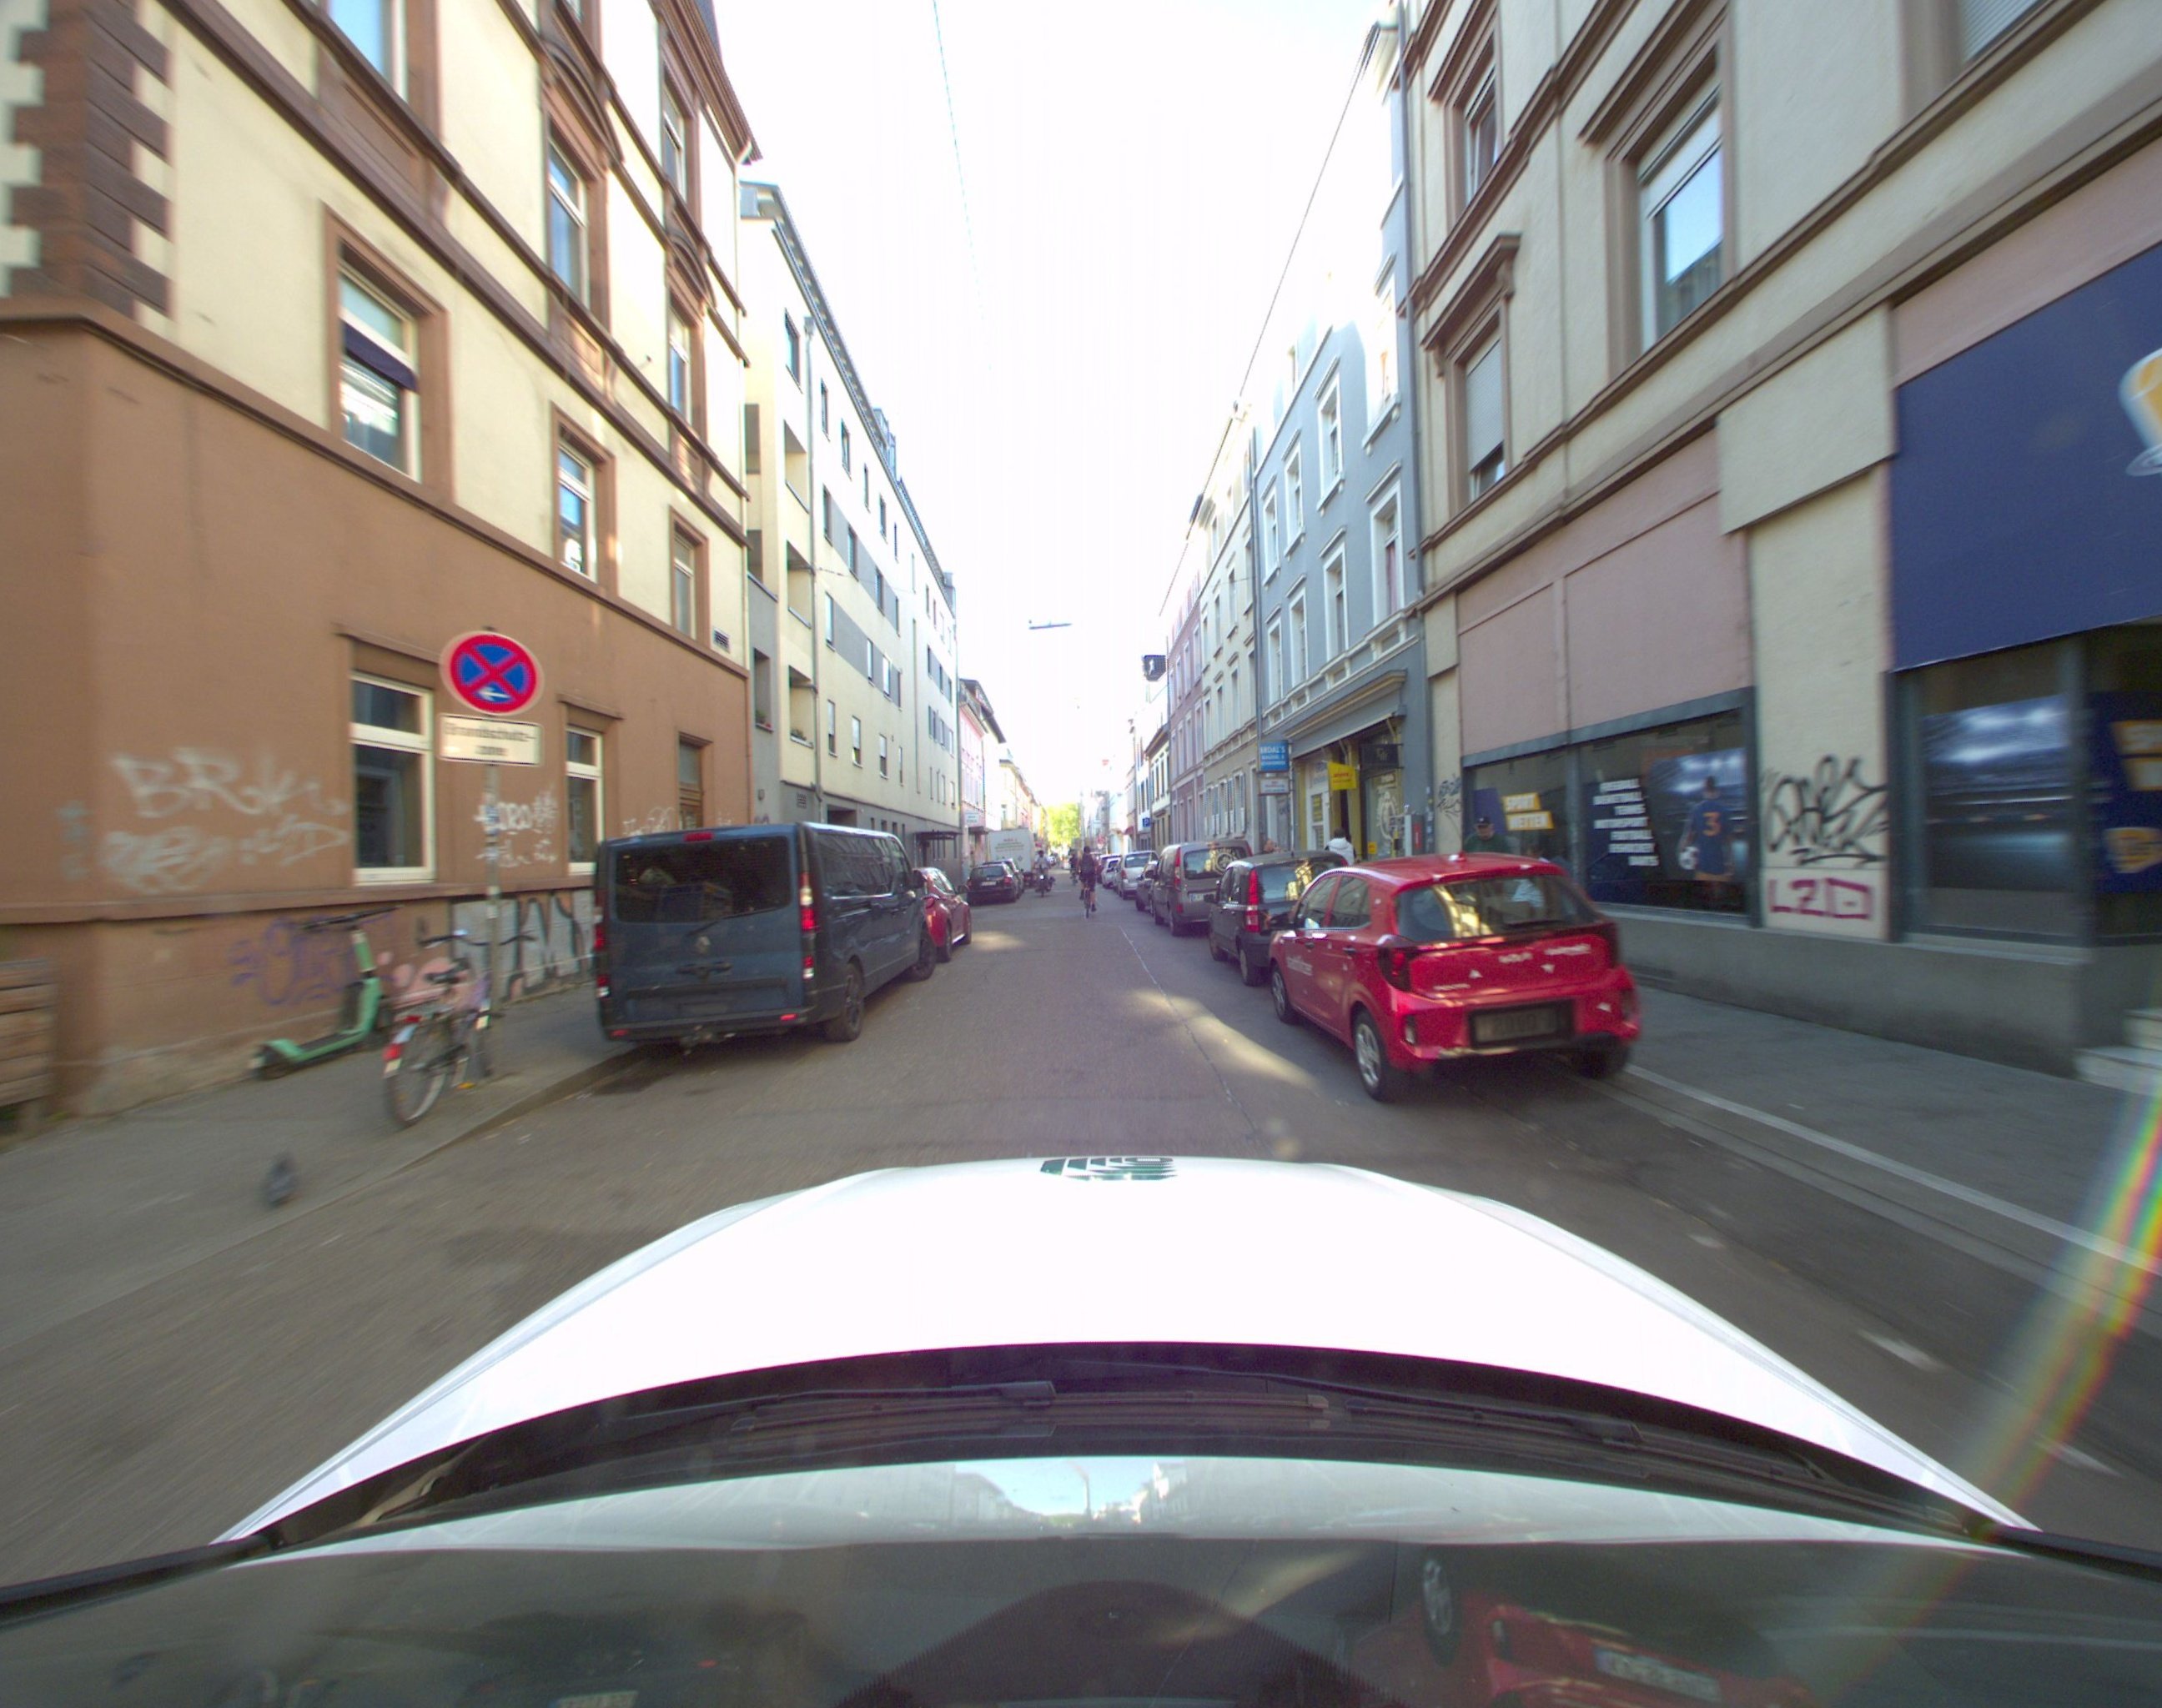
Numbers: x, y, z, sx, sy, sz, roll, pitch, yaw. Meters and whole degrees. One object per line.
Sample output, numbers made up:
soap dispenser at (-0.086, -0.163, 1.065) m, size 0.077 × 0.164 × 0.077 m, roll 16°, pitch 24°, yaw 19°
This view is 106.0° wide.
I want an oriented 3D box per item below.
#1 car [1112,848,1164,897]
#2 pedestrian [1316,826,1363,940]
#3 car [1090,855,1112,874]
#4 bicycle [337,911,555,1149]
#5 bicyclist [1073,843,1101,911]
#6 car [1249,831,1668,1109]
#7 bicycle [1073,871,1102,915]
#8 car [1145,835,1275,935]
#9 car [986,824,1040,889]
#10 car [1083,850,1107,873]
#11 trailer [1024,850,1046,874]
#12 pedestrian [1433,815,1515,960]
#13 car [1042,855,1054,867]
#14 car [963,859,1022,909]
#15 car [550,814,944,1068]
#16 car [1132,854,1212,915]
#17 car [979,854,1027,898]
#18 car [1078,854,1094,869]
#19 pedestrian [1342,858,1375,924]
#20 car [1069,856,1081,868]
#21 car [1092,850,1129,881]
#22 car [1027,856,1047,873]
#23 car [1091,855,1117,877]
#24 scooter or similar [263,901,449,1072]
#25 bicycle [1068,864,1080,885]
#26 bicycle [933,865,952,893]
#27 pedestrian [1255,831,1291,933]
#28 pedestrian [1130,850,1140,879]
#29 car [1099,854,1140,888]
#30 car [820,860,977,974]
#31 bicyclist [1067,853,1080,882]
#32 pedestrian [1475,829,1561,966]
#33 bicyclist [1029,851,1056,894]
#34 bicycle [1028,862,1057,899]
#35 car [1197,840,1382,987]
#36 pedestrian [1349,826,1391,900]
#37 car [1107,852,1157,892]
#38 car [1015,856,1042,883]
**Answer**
car at (2.068, 0.669, 30.350) m, size 1.552 × 1.712 × 3.556 m, roll -1°, pitch -1°, yaw -2°
pedestrian at (4.009, 0.440, 12.658) m, size 0.560 × 1.740 × 0.427 m, roll -1°, pitch -1°, yaw -4°
car at (1.626, 0.871, 67.798) m, size 1.744 × 1.487 × 3.799 m, roll -3°, pitch -1°, yaw 0°
bicycle at (-4.229, 1.058, 5.603) m, size 0.551 × 1.216 × 1.976 m, roll 0°, pitch -1°, yaw -19°
bicyclist at (0.143, 0.583, 20.898) m, size 0.666 × 1.677 × 1.096 m, roll -1°, pitch -1°, yaw -2°
car at (2.547, 0.680, 6.471) m, size 1.602 × 1.572 × 3.551 m, roll -1°, pitch -1°, yaw -2°
bicycle at (0.144, 0.975, 20.950) m, size 0.675 × 1.074 × 1.940 m, roll -1°, pitch -1°, yaw -2°
car at (2.517, 0.584, 16.967) m, size 1.894 × 1.793 × 4.312 m, roll -1°, pitch -1°, yaw -2°
car at (-3.784, 0.159, 46.449) m, size 2.337 × 3.291 × 7.151 m, roll -4°, pitch -1°, yaw -1°
car at (1.191, 0.691, 72.849) m, size 1.746 × 1.879 × 3.967 m, roll -3°, pitch -1°, yaw -4°
trailer at (-4.276, 0.768, 75.901) m, size 1.877 × 2.092 × 3.734 m, roll -3°, pitch -1°, yaw -2°
pedestrian at (4.912, 0.401, 10.212) m, size 0.629 × 1.740 × 0.655 m, roll 0°, pitch -1°, yaw -14°
car at (-5.225, 1.126, 129.371) m, size 1.745 × 1.683 × 3.793 m, roll -3°, pitch -1°, yaw -2°
car at (-3.171, 1.042, 30.029) m, size 1.712 × 1.478 × 4.496 m, roll -4°, pitch 1°, yaw -2°
car at (-2.949, 0.644, 8.760) m, size 2.014 × 1.879 × 5.296 m, roll -1°, pitch 0°, yaw 0°
car at (2.385, 0.775, 22.131) m, size 1.549 × 1.511 × 3.606 m, roll -1°, pitch -1°, yaw -4°
car at (-3.395, 0.914, 35.991) m, size 1.712 × 1.650 × 4.243 m, roll -4°, pitch 1°, yaw -2°
car at (0.554, 0.801, 89.890) m, size 1.607 × 1.633 × 3.608 m, roll -1°, pitch -1°, yaw -2°
pedestrian at (5.224, 0.690, 15.344) m, size 0.437 × 1.222 × 0.514 m, roll -1°, pitch -1°, yaw 0°
car at (-0.791, 1.019, 106.342) m, size 1.607 × 1.560 × 3.608 m, roll -1°, pitch -1°, yaw -2°
car at (1.762, 0.649, 49.203) m, size 1.913 × 1.706 × 4.363 m, roll -2°, pitch 0°, yaw -2°
car at (-4.303, 1.004, 80.315) m, size 1.745 × 1.573 × 3.793 m, roll -3°, pitch -1°, yaw -2°
car at (1.696, 0.899, 61.818) m, size 1.641 × 1.475 × 3.968 m, roll -6°, pitch -1°, yaw -1°
scooter or similar at (-6.014, 1.040, 6.848) m, size 0.346 × 1.216 × 1.391 m, roll -1°, pitch -1°, yaw -2°
bicycle at (-0.408, 1.132, 45.287) m, size 0.647 × 1.129 × 2.134 m, roll -1°, pitch -1°, yaw -1°
bicycle at (-6.229, 1.108, 36.725) m, size 0.488 × 1.164 × 1.773 m, roll -4°, pitch 0°, yaw 0°
pedestrian at (3.302, 0.475, 14.066) m, size 0.440 × 1.704 × 0.654 m, roll -1°, pitch -1°, yaw -1°
pedestrian at (3.826, 0.723, 57.775) m, size 0.642 × 2.014 × 0.763 m, roll -1°, pitch -1°, yaw -2°
car at (1.892, 0.829, 41.173) m, size 1.682 × 1.543 × 4.043 m, roll -4°, pitch -1°, yaw -2°
car at (-2.917, 0.946, 13.863) m, size 1.746 × 1.522 × 3.867 m, roll -5°, pitch -1°, yaw -1°
bicyclist at (-0.415, 0.735, 45.265) m, size 0.669 × 1.567 × 0.715 m, roll -1°, pitch -1°, yaw -4°
pedestrian at (5.082, 0.493, 9.501) m, size 0.586 × 1.529 × 0.657 m, roll -1°, pitch -1°, yaw -7°
bicyclist at (-1.544, 0.713, 32.537) m, size 0.947 × 1.628 × 0.953 m, roll -4°, pitch 0°, yaw -1°
bicycle at (-1.526, 1.029, 32.640) m, size 0.974 × 1.314 × 2.555 m, roll -3°, pitch 0°, yaw 0°
car at (2.623, 0.698, 10.993) m, size 1.564 × 1.556 × 3.314 m, roll -5°, pitch -1°, yaw 1°
pedestrian at (4.929, 0.157, 13.876) m, size 0.525 × 1.222 × 0.518 m, roll -1°, pitch -1°, yaw 38°
car at (2.149, 0.773, 35.686) m, size 1.692 × 1.543 × 4.625 m, roll -4°, pitch -1°, yaw -2°
car at (-3.888, 1.159, 60.767) m, size 1.748 × 1.816 × 4.075 m, roll -4°, pitch -1°, yaw -2°
